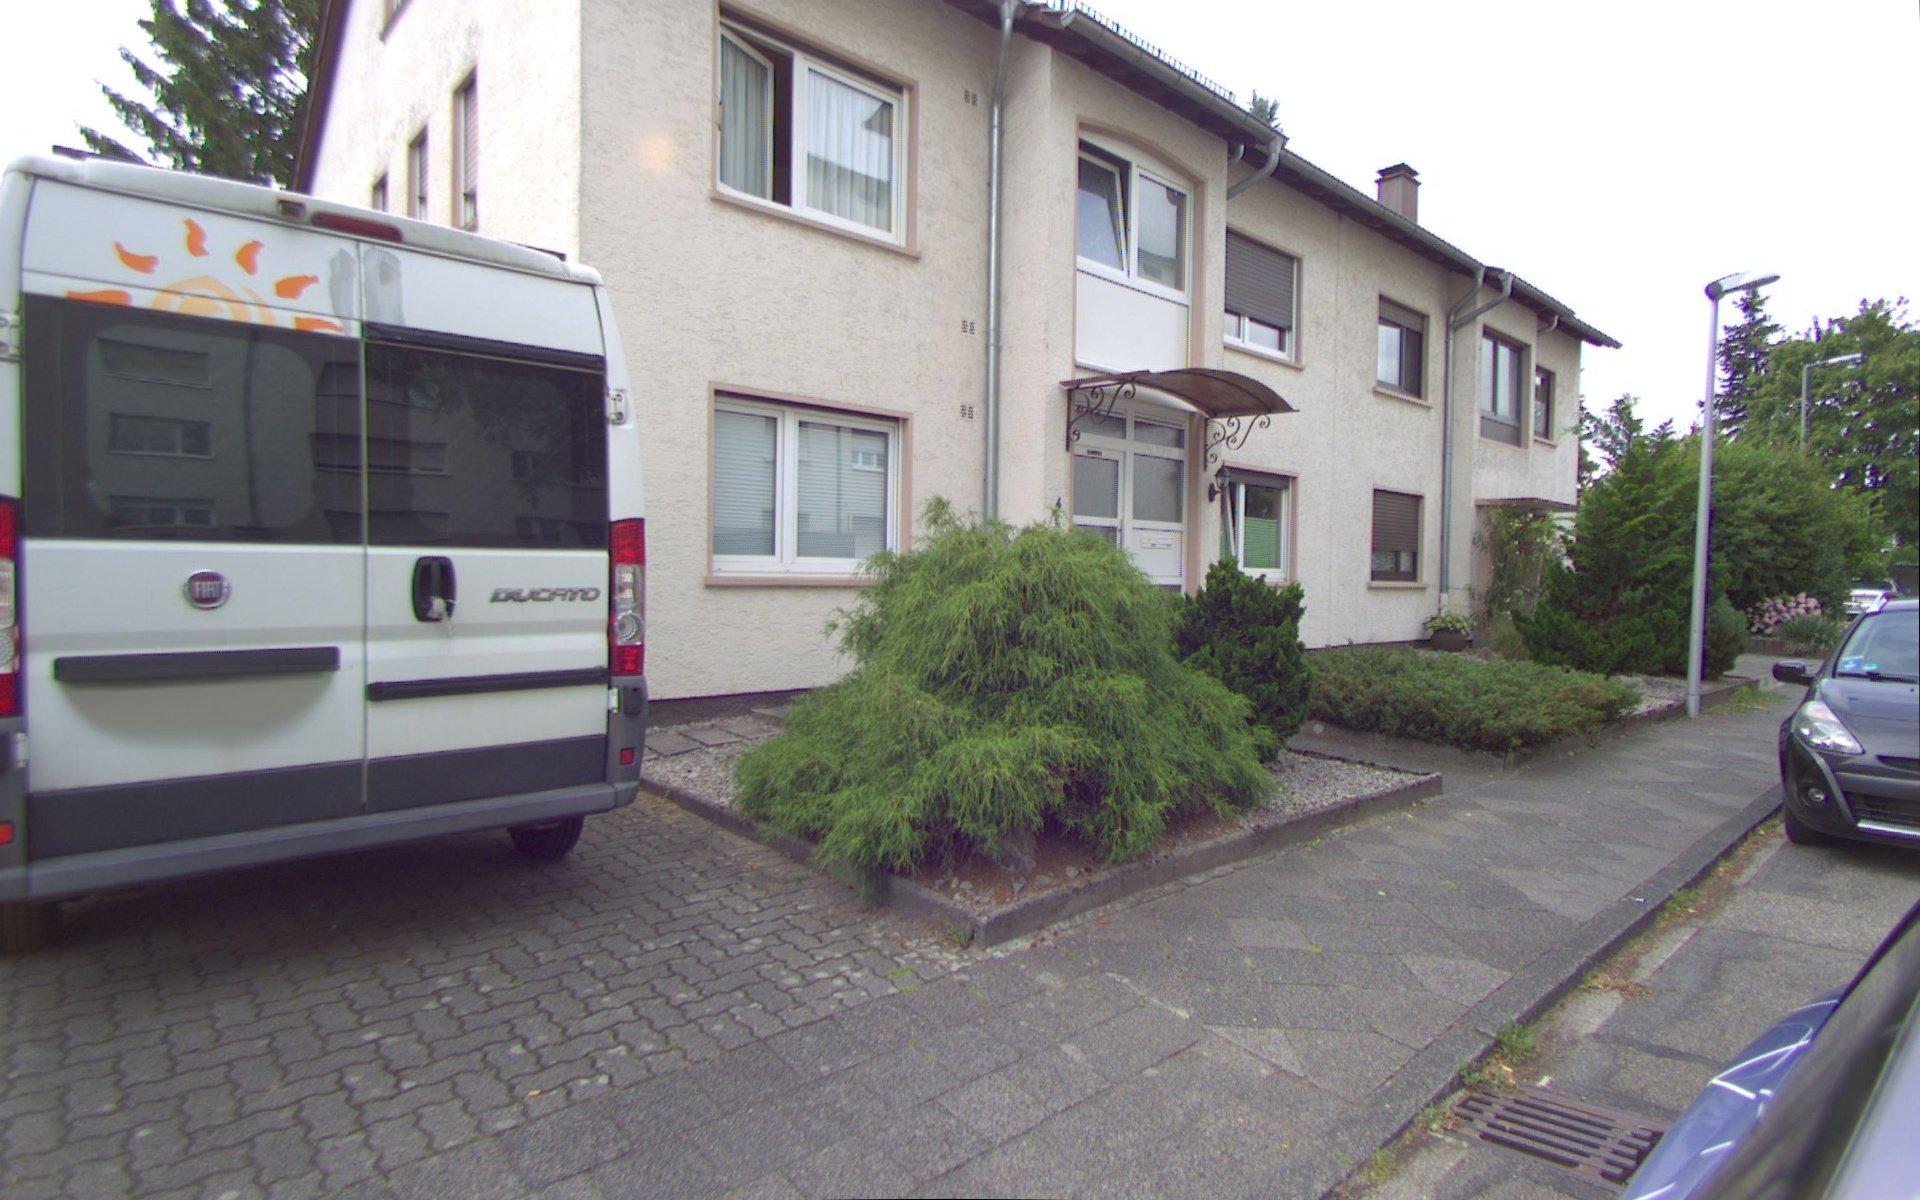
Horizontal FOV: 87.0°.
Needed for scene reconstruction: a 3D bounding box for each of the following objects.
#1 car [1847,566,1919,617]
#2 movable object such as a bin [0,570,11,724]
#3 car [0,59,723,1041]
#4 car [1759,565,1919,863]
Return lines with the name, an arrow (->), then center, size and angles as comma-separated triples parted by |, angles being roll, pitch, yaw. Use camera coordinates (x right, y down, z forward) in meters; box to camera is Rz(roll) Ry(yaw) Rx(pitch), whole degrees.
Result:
car -> 30.407, -0.324, 33.186 | 3.936, 1.484, 1.702 | -3, 4, -45
movable object such as a bin -> -7.049, 0.330, 7.117 | 0.537, 1.069, 0.456 | -1, 4, -43
car -> -3.456, -0.262, 5.229 | 2.199, 2.573, 5.098 | 0, 3, -41
car -> 6.428, 0.551, 6.261 | 4.122, 1.476, 1.831 | -1, 1, -44
